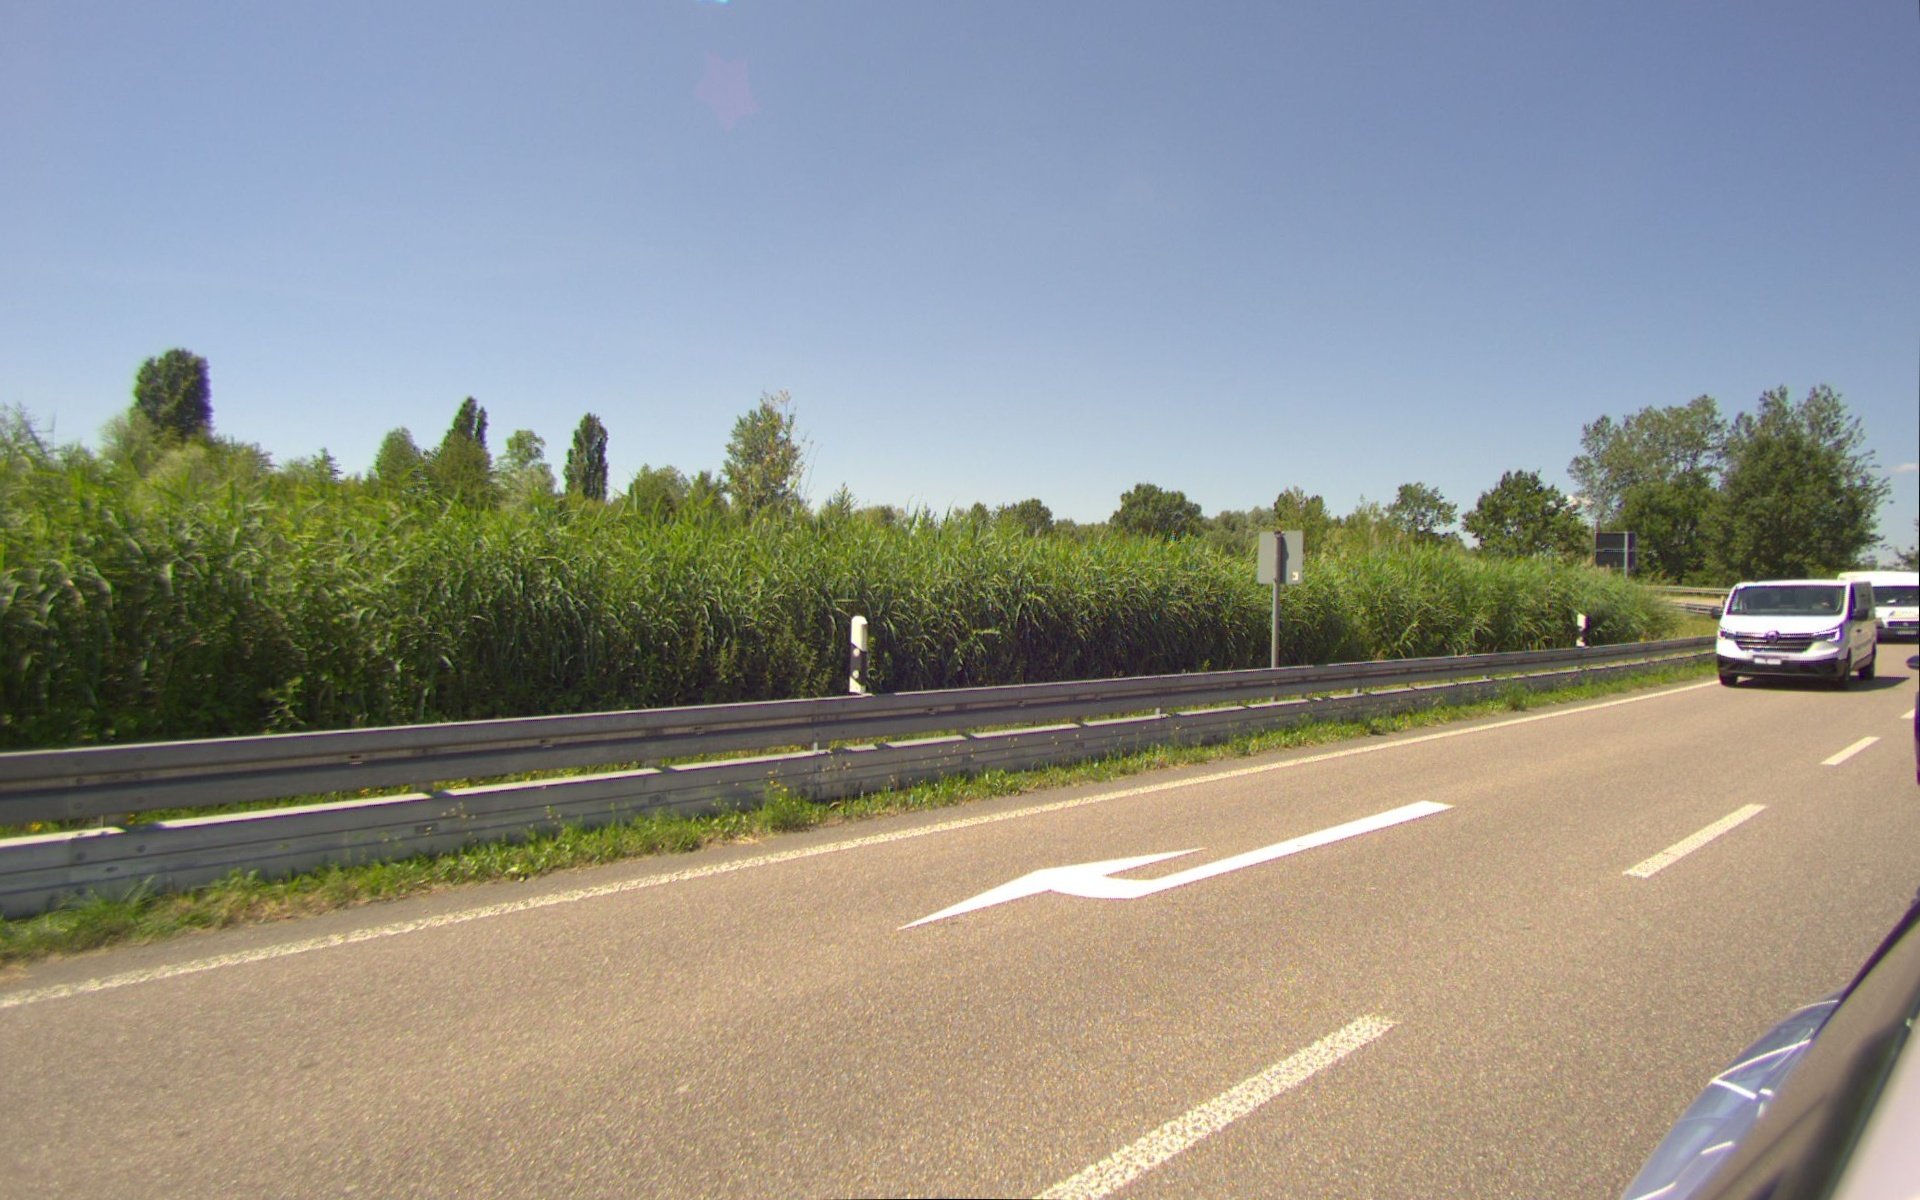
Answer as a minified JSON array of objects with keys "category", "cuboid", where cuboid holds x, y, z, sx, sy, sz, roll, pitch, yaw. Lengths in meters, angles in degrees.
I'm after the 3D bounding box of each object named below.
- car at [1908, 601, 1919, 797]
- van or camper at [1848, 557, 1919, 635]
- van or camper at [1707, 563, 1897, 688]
[{"category":"car","cuboid":[9.330,0.716,8.278,4.454,1.449,1.841,0,0,-41]},{"category":"van or camper","cuboid":[33.589,-0.133,36.048,2.060,2.587,5.976,0,0,33]},{"category":"van or camper","cuboid":[16.171,0.416,19.323,5.354,2.057,2.006,0,0,-42]}]
